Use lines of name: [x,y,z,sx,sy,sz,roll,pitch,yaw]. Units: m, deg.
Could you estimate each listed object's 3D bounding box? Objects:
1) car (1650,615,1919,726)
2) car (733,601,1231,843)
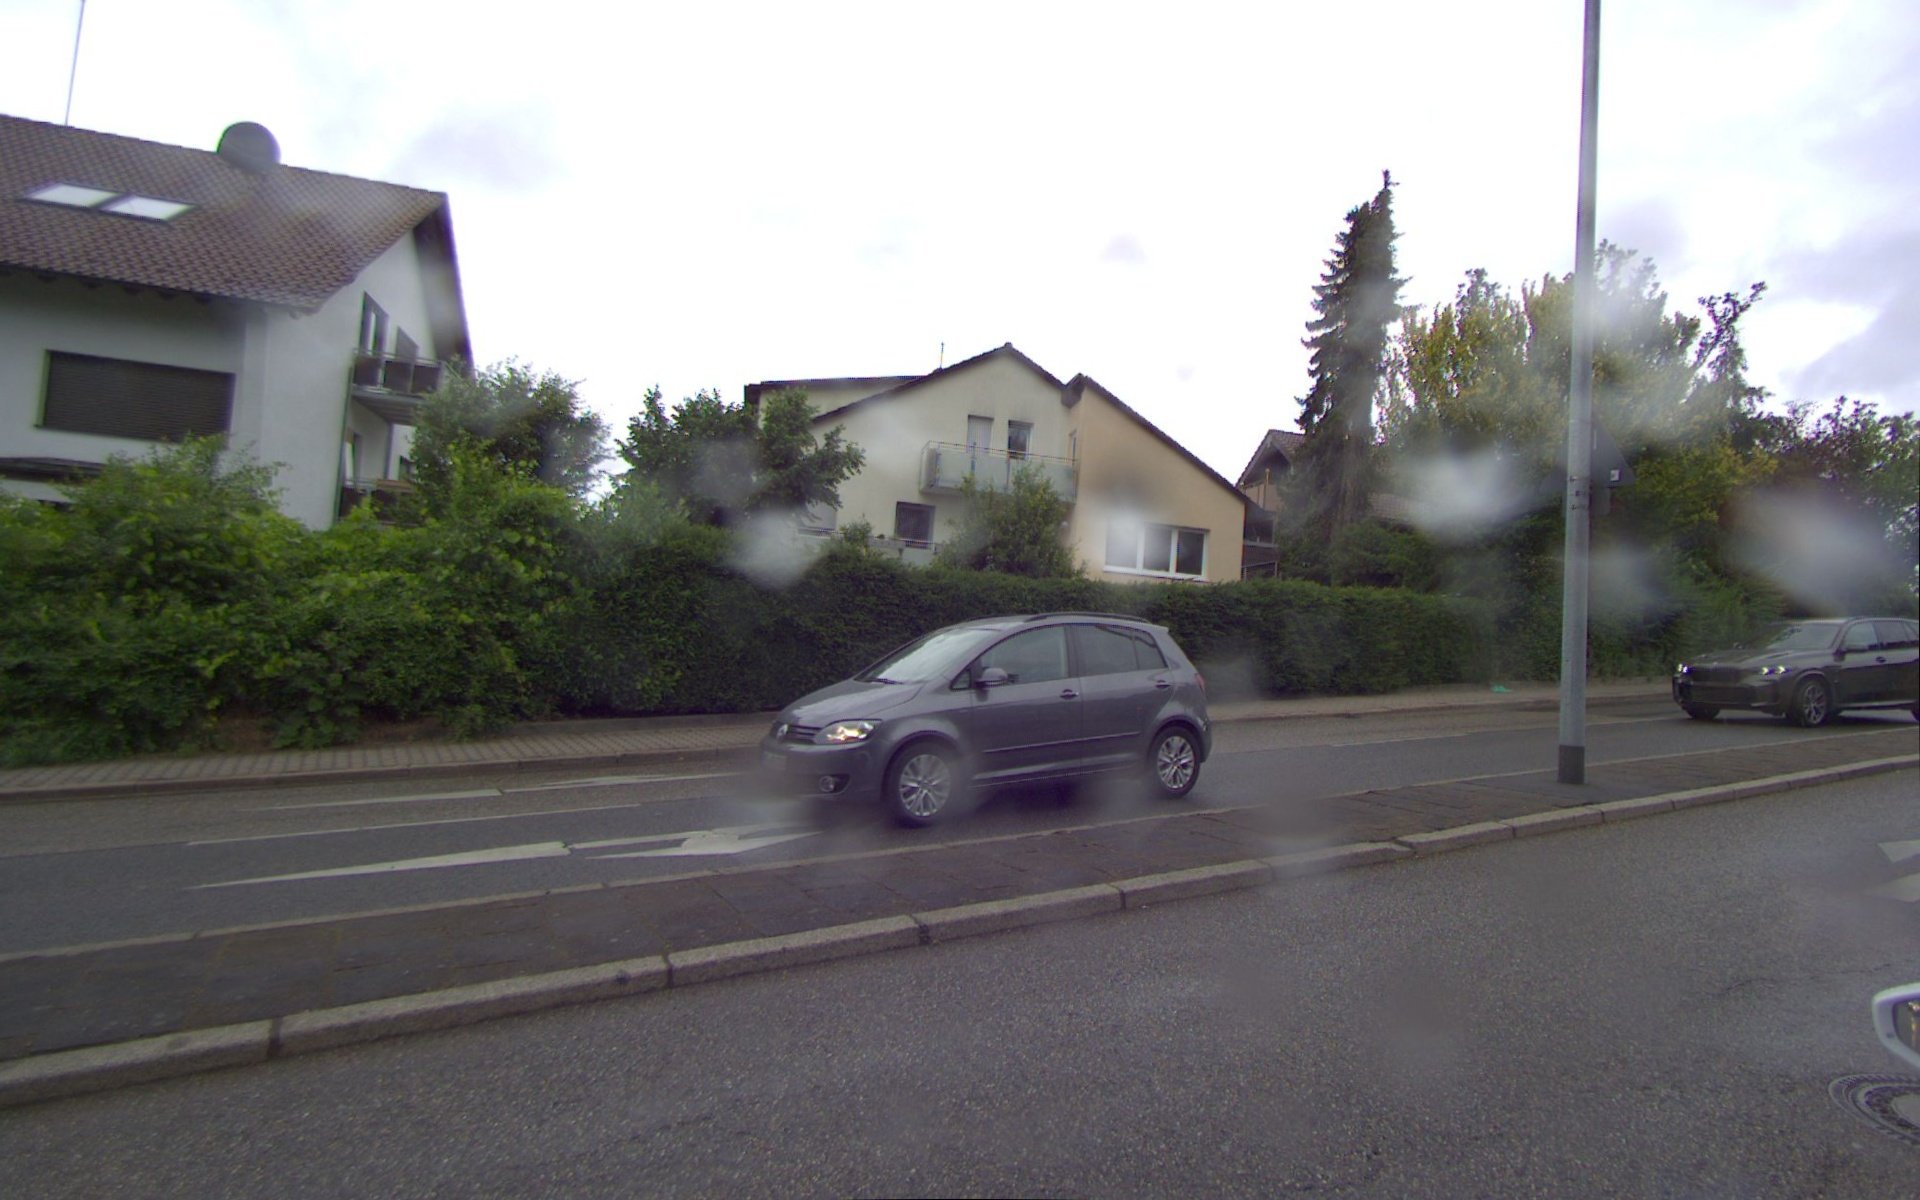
car: [14.611,1.167,17.208,4.636,1.739,1.995,1,-2,-13]
car: [0.274,0.901,8.599,3.988,1.623,1.733,2,-3,-33]
